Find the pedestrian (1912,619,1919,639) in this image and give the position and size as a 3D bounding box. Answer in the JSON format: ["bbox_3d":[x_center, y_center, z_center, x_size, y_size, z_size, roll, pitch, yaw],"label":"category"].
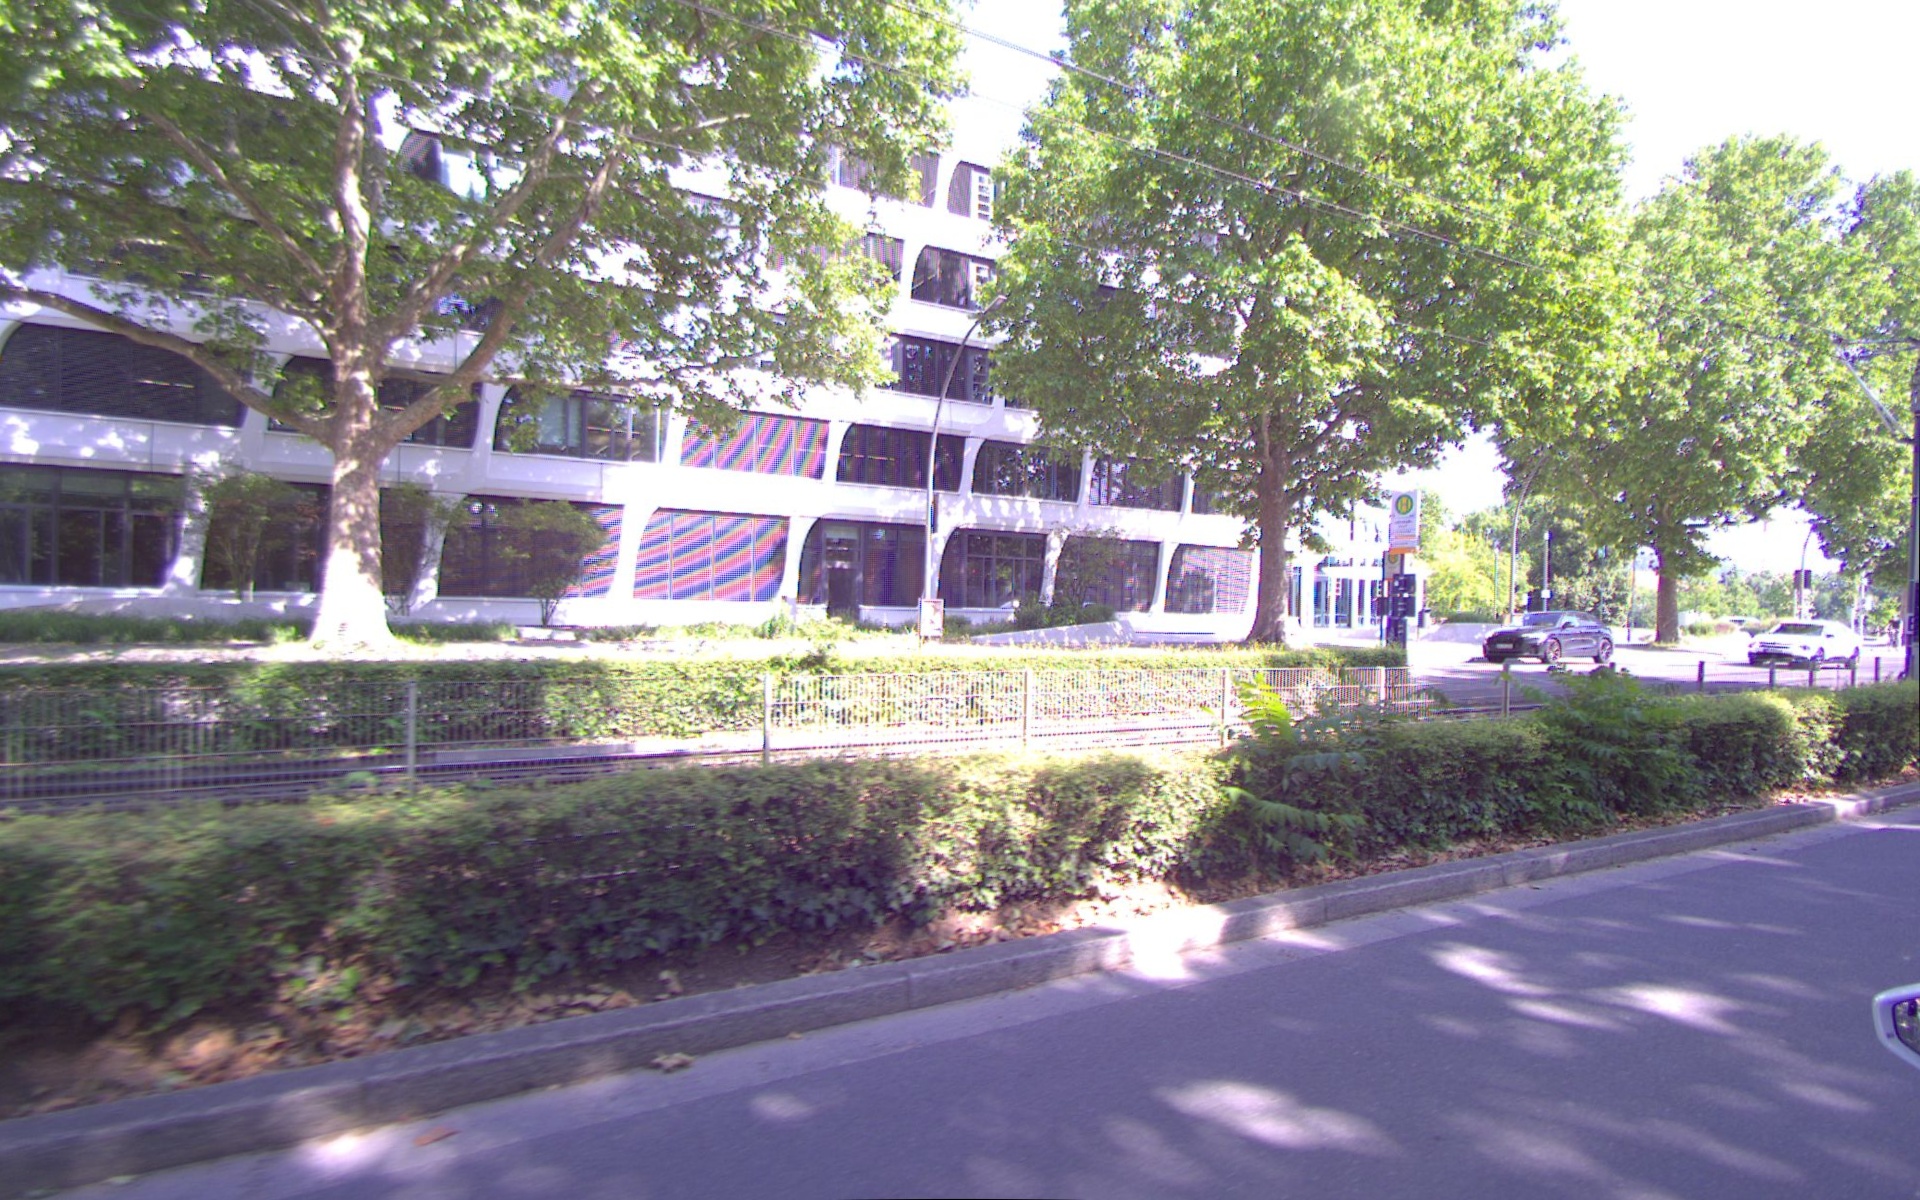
[{"bbox_3d":[74.627,2.282,78.169,0.637,1.562,0.619,1,1,-30],"label":"pedestrian"}]

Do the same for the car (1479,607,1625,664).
[{"bbox_3d":[18.741,1.107,31.740,4.838,1.646,1.821,1,0,-30],"label":"car"}]

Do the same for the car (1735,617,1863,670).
[{"bbox_3d":[27.188,1.391,32.528,4.253,1.584,1.802,1,0,-30],"label":"car"}]

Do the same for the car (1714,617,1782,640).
[{"bbox_3d":[62.291,2.246,79.452,1.748,1.569,3.831,1,0,-28],"label":"car"}]

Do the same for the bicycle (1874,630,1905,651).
[{"bbox_3d":[49.294,2.152,53.257,1.861,1.109,0.664,1,1,-29],"label":"bicycle"}]

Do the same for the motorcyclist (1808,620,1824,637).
[{"bbox_3d":[65.687,2.179,77.067,0.597,1.332,0.749,1,1,-29],"label":"motorcyclist"}]

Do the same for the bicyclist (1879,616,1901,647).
[{"bbox_3d":[49.329,1.658,53.266,0.828,1.625,0.572,1,1,-29],"label":"bicyclist"}]
